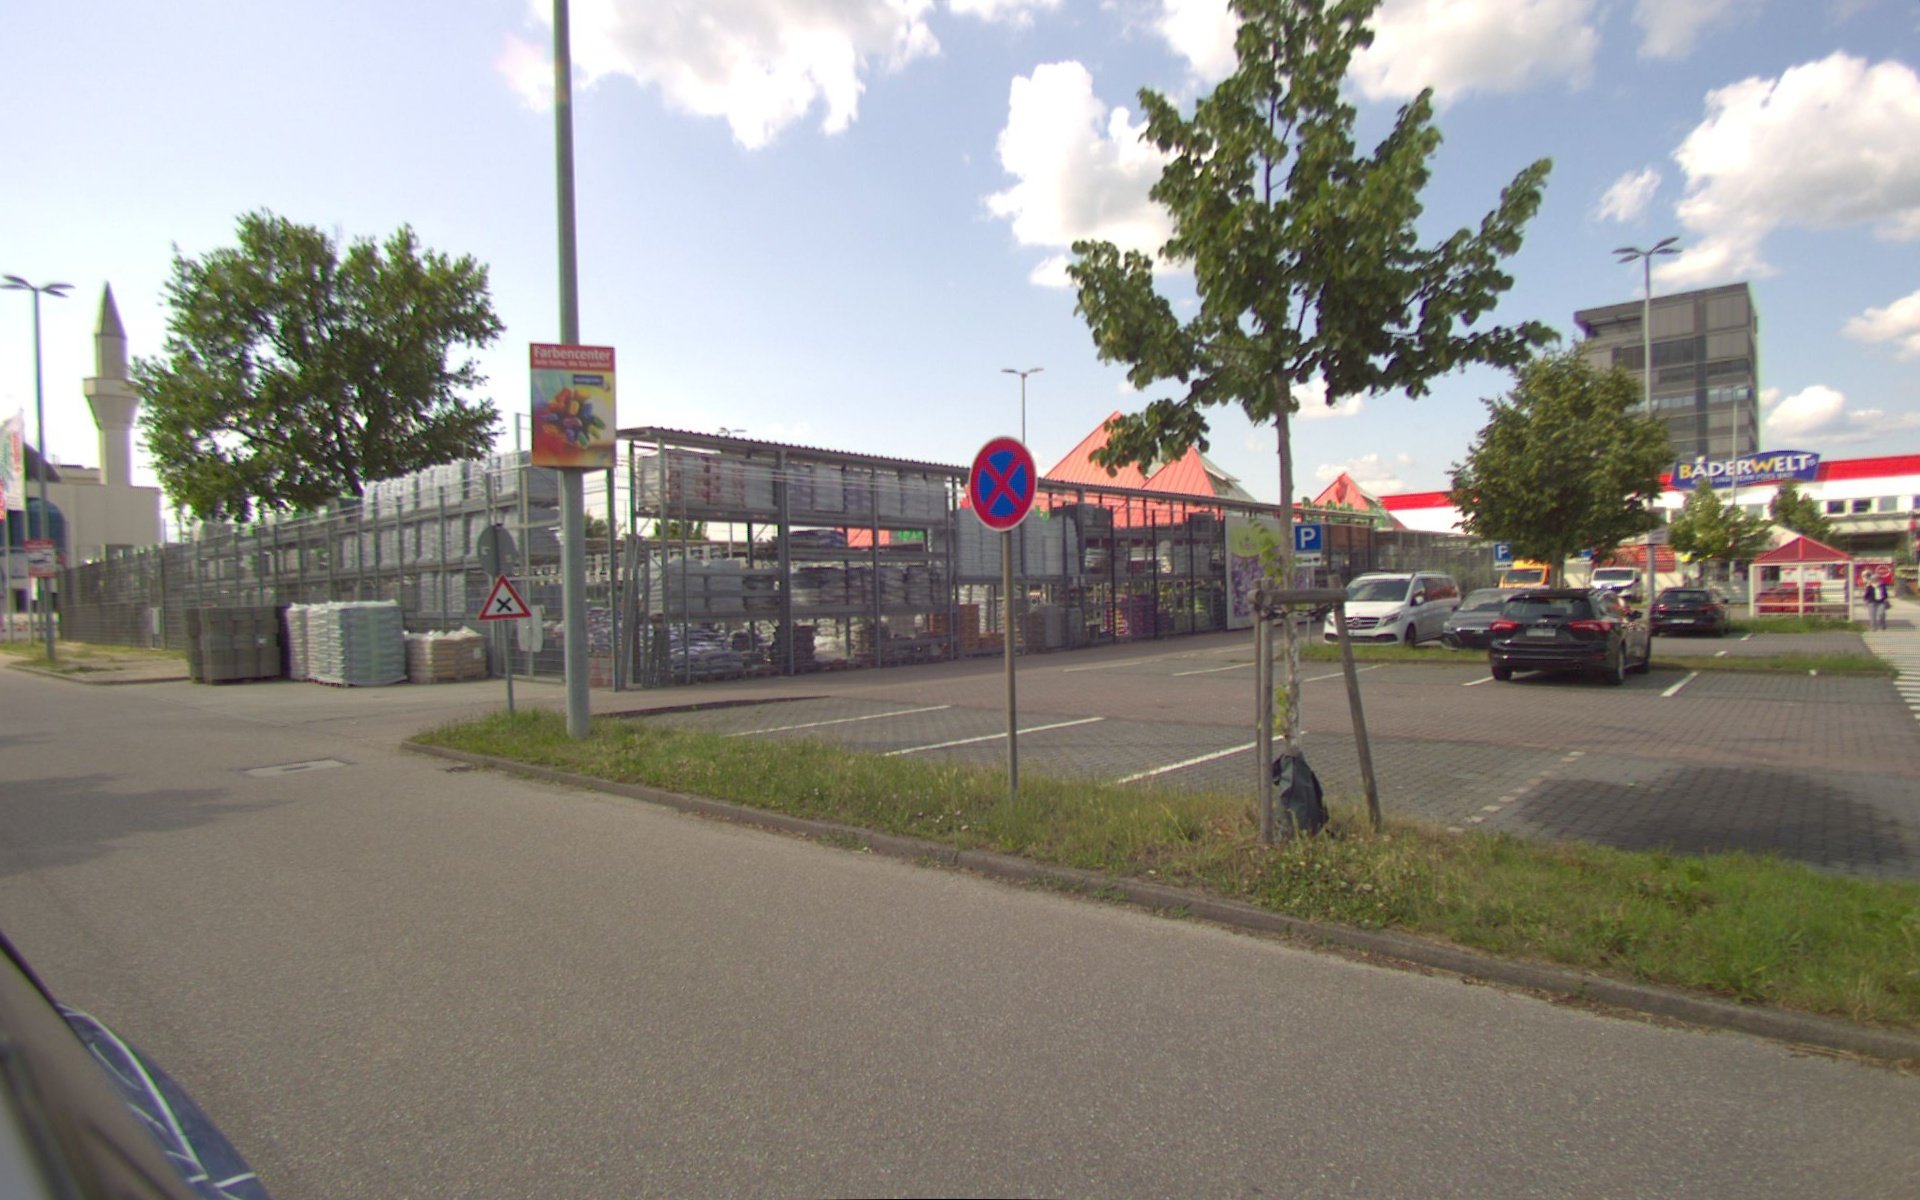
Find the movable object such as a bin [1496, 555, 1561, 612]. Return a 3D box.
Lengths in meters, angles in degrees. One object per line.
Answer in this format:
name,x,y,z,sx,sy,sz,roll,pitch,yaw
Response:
movable object such as a bin,27.291,-0.775,48.486,2.126,2.512,5.273,-1,0,36

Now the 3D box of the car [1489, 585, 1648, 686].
car,9.837,0.504,16.261,1.809,1.415,3.313,-1,0,38

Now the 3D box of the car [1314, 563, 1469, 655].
car,10.673,0.172,24.790,1.999,2.029,5.117,-1,0,41

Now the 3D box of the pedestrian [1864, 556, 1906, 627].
pedestrian,26.884,-0.233,29.437,0.816,2.029,0.903,-1,0,39

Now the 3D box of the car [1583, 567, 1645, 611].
car,32.753,-0.573,50.635,1.999,2.028,4.743,3,2,40

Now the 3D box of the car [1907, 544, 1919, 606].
car,42.662,-1.082,43.557,2.234,2.656,4.277,0,1,36
